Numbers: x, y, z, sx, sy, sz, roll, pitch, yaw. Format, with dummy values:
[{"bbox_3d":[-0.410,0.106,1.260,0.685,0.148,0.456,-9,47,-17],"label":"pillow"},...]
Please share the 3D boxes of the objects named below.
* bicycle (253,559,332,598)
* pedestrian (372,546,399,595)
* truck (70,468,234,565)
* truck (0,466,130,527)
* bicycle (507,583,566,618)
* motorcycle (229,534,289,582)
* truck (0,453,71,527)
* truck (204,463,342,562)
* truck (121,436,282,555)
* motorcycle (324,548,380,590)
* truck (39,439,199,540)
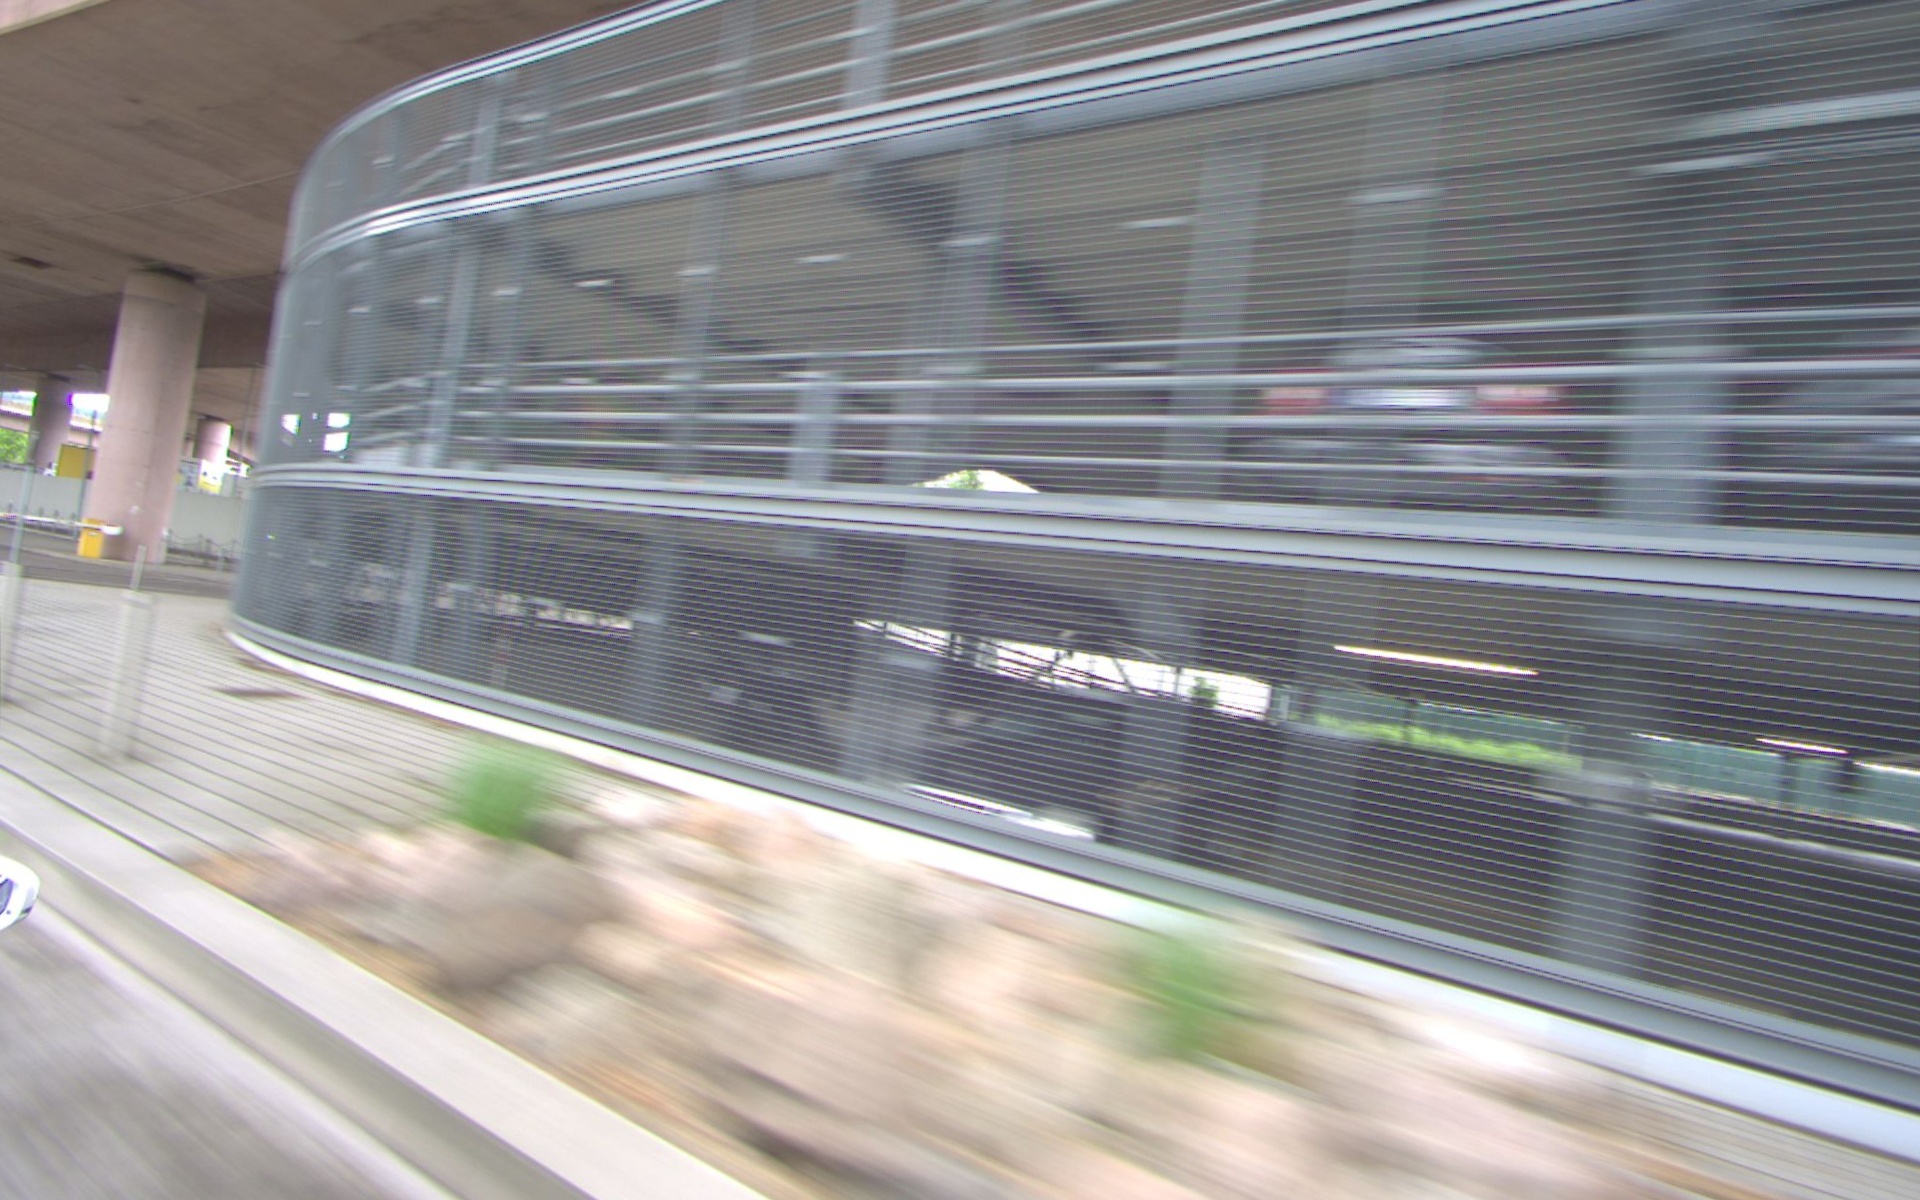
[{"bbox_3d":[-20.578,-0.649,31.065,0.411,0.936,2.020,9,-2,23],"label":"bicycle"},{"bbox_3d":[-22.748,-1.174,39.843,0.640,1.847,0.500,9,-1,-41],"label":"pedestrian"},{"bbox_3d":[-44.458,-4.398,55.875,2.854,4.233,10.037,7,-1,-15],"label":"truck"},{"bbox_3d":[-57.316,-6.510,64.168,3.097,2.981,8.691,5,0,-14],"label":"truck"},{"bbox_3d":[-16.163,0.030,38.443,0.390,1.035,2.058,8,-2,37],"label":"bicycle"},{"bbox_3d":[-23.680,-1.432,33.983,2.497,1.250,0.782,9,0,36],"label":"motorcycle"},{"bbox_3d":[-75.026,-8.798,79.470,3.100,4.958,8.696,8,-2,-15],"label":"truck"},{"bbox_3d":[-36.648,-4.440,54.189,2.772,4.207,9.899,7,-1,-16],"label":"truck"},{"bbox_3d":[-39.816,-5.219,53.338,3.101,4.982,9.694,8,-1,-16],"label":"truck"},{"bbox_3d":[-22.045,-1.137,36.448,2.290,1.118,0.573,12,1,30],"label":"motorcycle"},{"bbox_3d":[-48.542,-6.165,58.545,3.101,4.496,9.694,7,-1,-16],"label":"truck"}]
